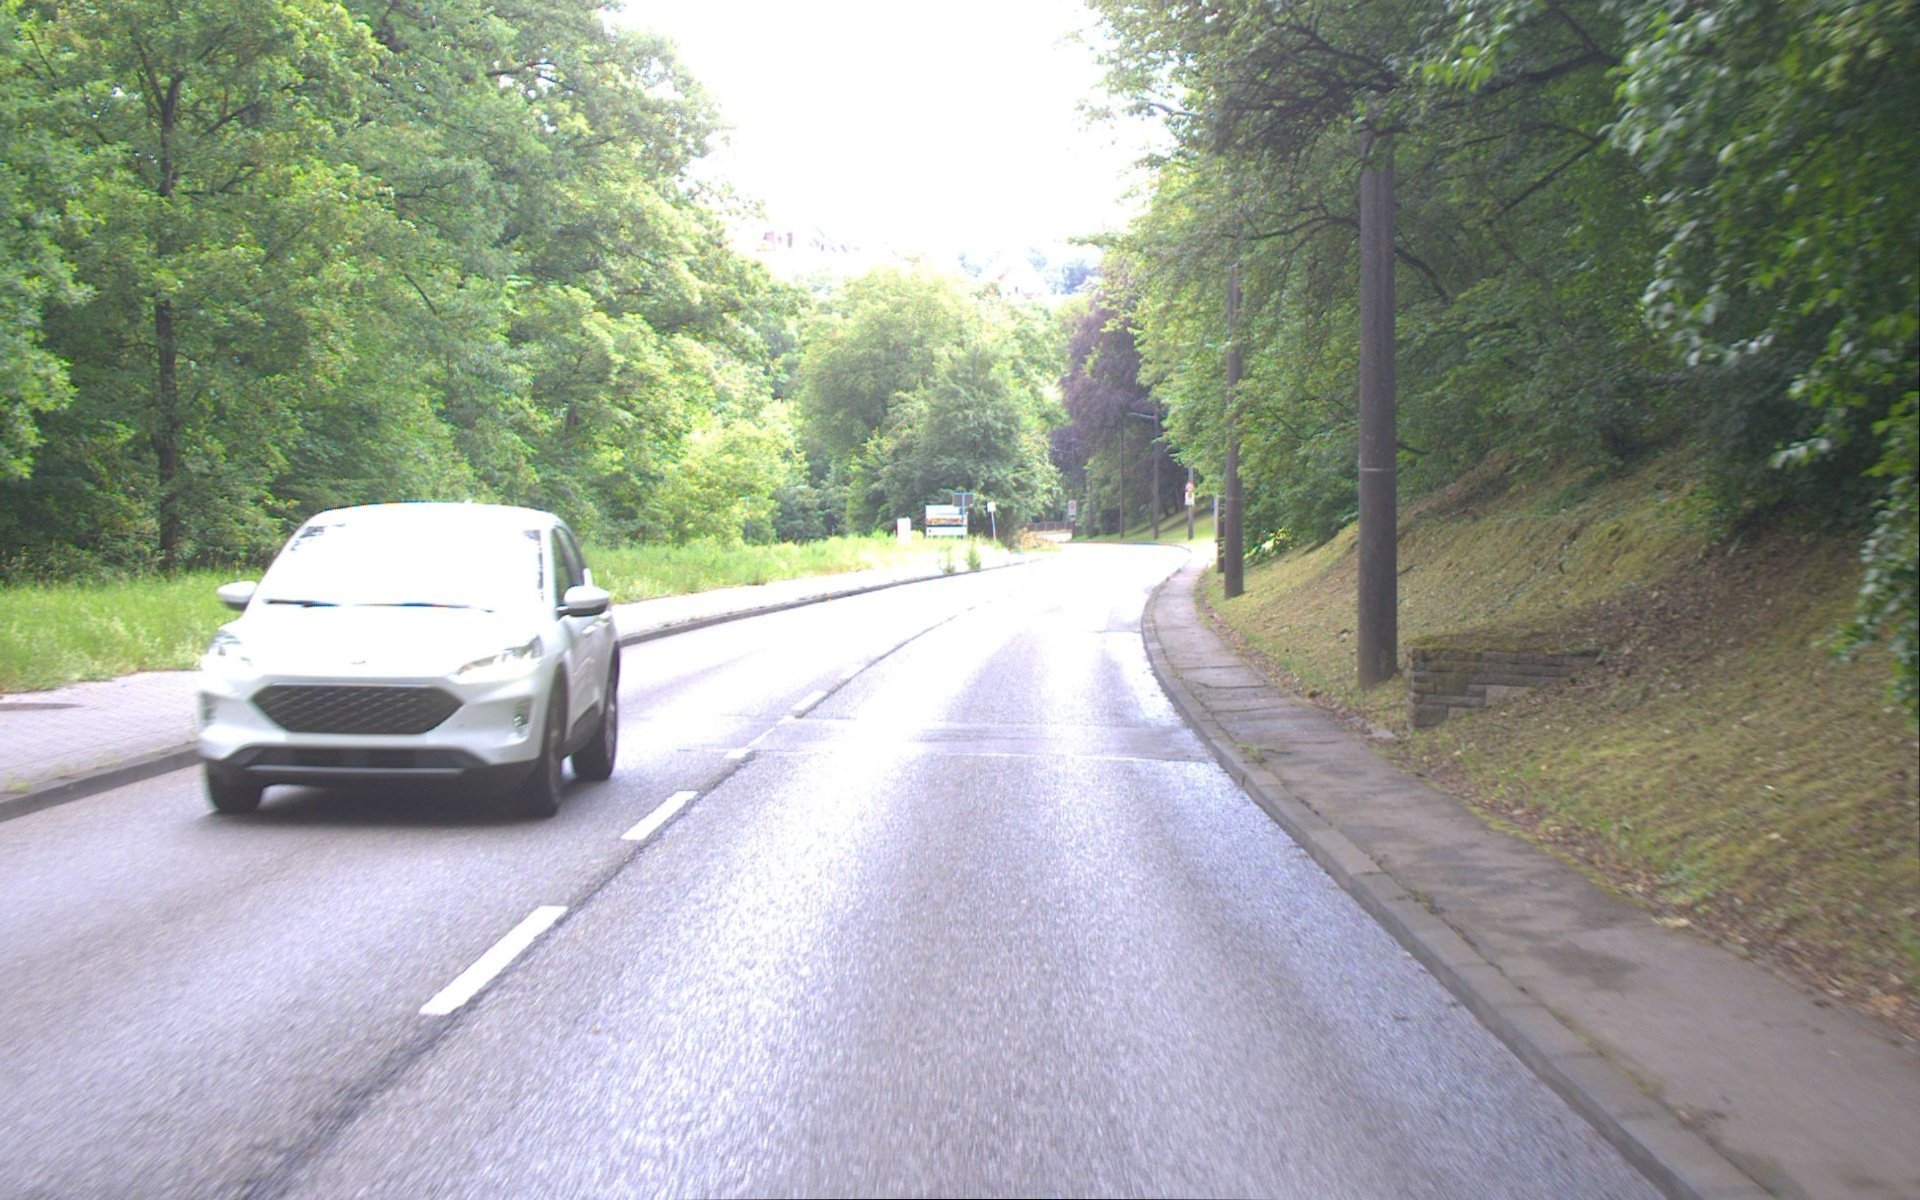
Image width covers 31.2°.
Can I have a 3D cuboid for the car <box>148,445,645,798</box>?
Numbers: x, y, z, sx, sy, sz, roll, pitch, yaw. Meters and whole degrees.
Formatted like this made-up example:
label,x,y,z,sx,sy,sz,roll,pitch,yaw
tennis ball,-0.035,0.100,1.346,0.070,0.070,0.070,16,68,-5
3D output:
label,x,y,z,sx,sy,sz,roll,pitch,yaw
car,-3.044,0.094,19.611,1.993,1.747,4.782,1,0,1
